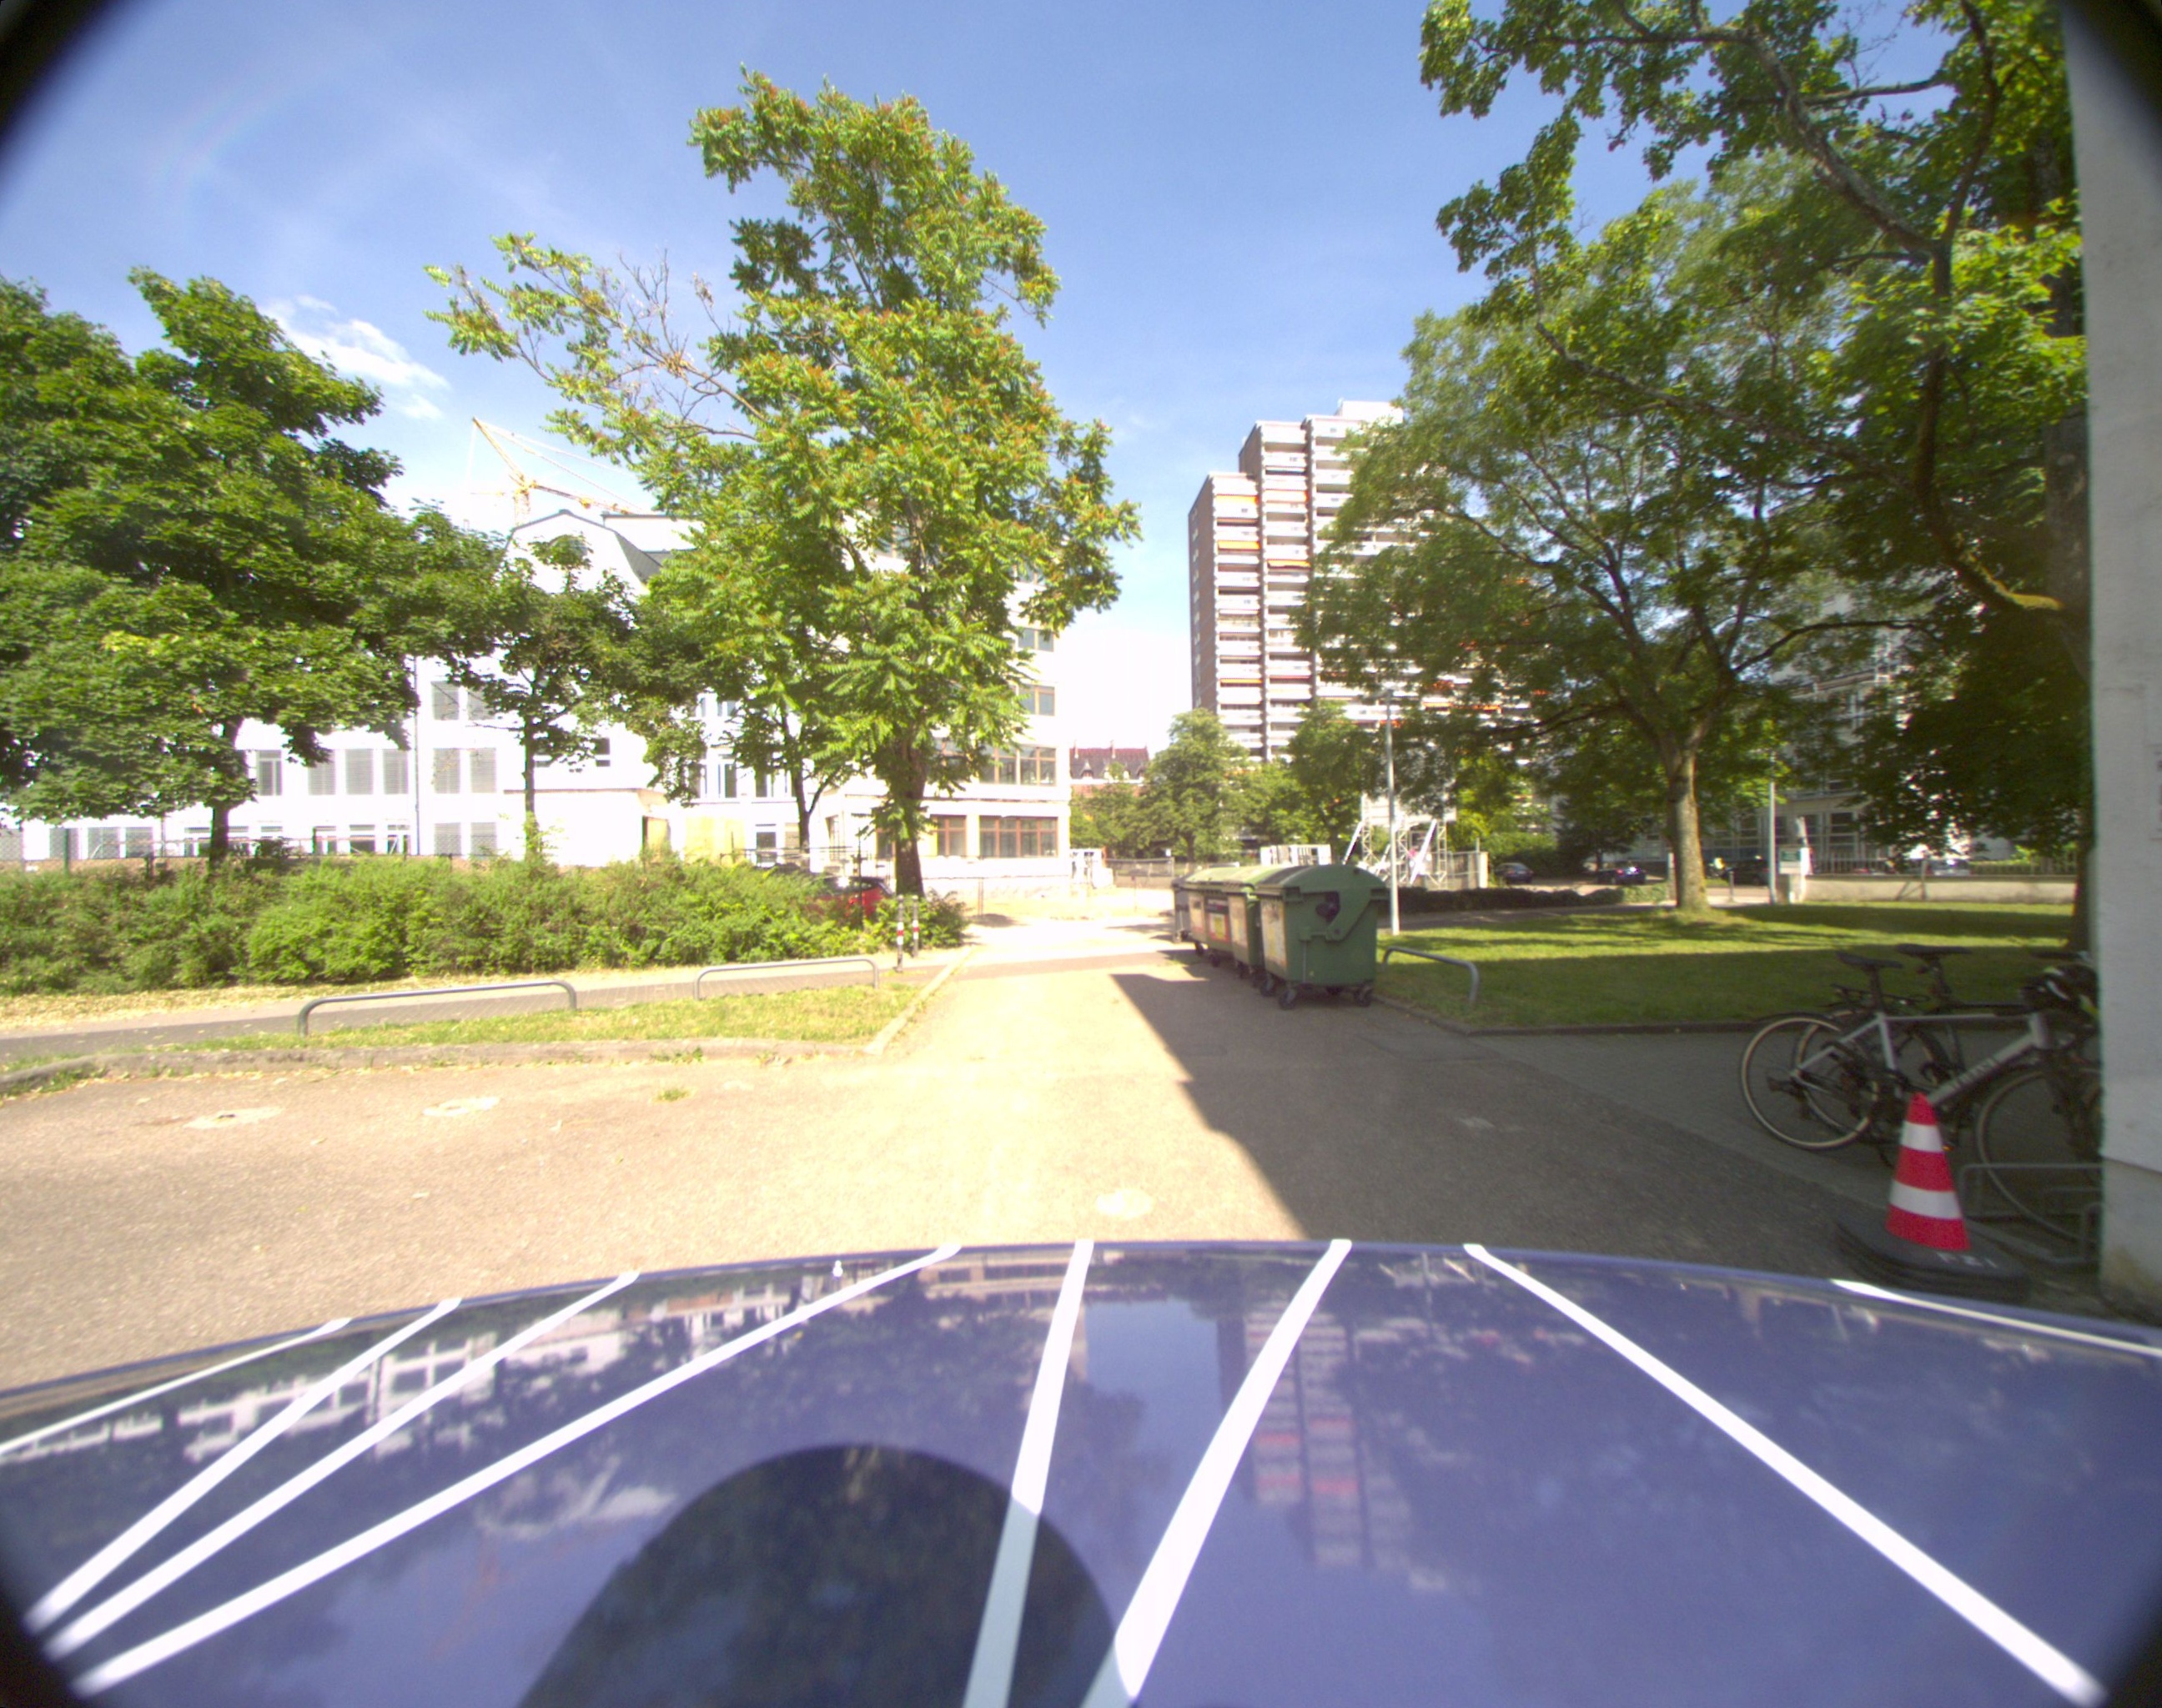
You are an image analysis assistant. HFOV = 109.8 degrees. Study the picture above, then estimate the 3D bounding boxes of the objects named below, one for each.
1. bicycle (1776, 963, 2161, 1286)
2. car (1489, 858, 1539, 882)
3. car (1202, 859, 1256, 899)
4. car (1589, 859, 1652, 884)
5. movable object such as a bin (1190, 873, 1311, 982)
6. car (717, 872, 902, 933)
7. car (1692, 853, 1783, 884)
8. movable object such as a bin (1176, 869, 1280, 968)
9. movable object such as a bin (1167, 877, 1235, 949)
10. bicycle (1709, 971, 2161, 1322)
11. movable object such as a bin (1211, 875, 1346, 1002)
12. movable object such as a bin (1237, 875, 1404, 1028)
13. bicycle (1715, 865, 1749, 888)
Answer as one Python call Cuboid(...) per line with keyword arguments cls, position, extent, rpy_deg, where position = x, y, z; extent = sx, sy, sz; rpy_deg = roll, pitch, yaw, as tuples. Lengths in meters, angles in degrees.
Cuboid(cls="bicycle", position=(4.132, 1.089, 3.447), extent=(0.445, 0.986, 1.630), rpy_deg=(0, -1, -1))
Cuboid(cls="car", position=(29.530, 1.053, 51.970), extent=(1.840, 1.402, 4.151), rpy_deg=(-2, 0, 13))
Cuboid(cls="car", position=(7.222, 1.168, 36.813), extent=(1.918, 1.770, 4.319), rpy_deg=(-2, -1, 19))
Cuboid(cls="car", position=(32.942, 1.057, 46.498), extent=(1.651, 1.443, 4.004), rpy_deg=(-1, -1, 11))
Cuboid(cls="movable object such as a bin", position=(2.392, 0.999, 10.874), extent=(1.249, 1.422, 1.222), rpy_deg=(-1, 0, -14))
Cuboid(cls="car", position=(-6.725, 1.153, 19.082), extent=(4.179, 1.404, 1.660), rpy_deg=(0, -1, -20))
Cuboid(cls="car", position=(35.698, 0.790, 41.479), extent=(1.805, 1.556, 4.395), rpy_deg=(-1, -1, 12))
Cuboid(cls="movable object such as a bin", position=(2.338, 0.991, 12.280), extent=(1.248, 1.472, 1.338), rpy_deg=(-1, 0, -9))
Cuboid(cls="movable object such as a bin", position=(2.529, 1.194, 15.899), extent=(1.246, 1.388, 1.406), rpy_deg=(-1, 0, 15))
Cuboid(cls="bicycle", position=(3.649, 1.116, 3.363), extent=(0.445, 0.986, 1.541), rpy_deg=(0, -1, -1))
Cuboid(cls="movable object such as a bin", position=(2.404, 0.997, 9.485), extent=(1.248, 1.422, 1.365), rpy_deg=(-1, 0, -4))
Cuboid(cls="movable object such as a bin", position=(2.445, 0.954, 7.973), extent=(1.248, 1.422, 1.349), rpy_deg=(-1, 0, -4))
Cuboid(cls="bicycle", position=(41.032, 1.412, 47.866), extent=(2.017, 1.370, 0.489), rpy_deg=(-1, 0, -12))
